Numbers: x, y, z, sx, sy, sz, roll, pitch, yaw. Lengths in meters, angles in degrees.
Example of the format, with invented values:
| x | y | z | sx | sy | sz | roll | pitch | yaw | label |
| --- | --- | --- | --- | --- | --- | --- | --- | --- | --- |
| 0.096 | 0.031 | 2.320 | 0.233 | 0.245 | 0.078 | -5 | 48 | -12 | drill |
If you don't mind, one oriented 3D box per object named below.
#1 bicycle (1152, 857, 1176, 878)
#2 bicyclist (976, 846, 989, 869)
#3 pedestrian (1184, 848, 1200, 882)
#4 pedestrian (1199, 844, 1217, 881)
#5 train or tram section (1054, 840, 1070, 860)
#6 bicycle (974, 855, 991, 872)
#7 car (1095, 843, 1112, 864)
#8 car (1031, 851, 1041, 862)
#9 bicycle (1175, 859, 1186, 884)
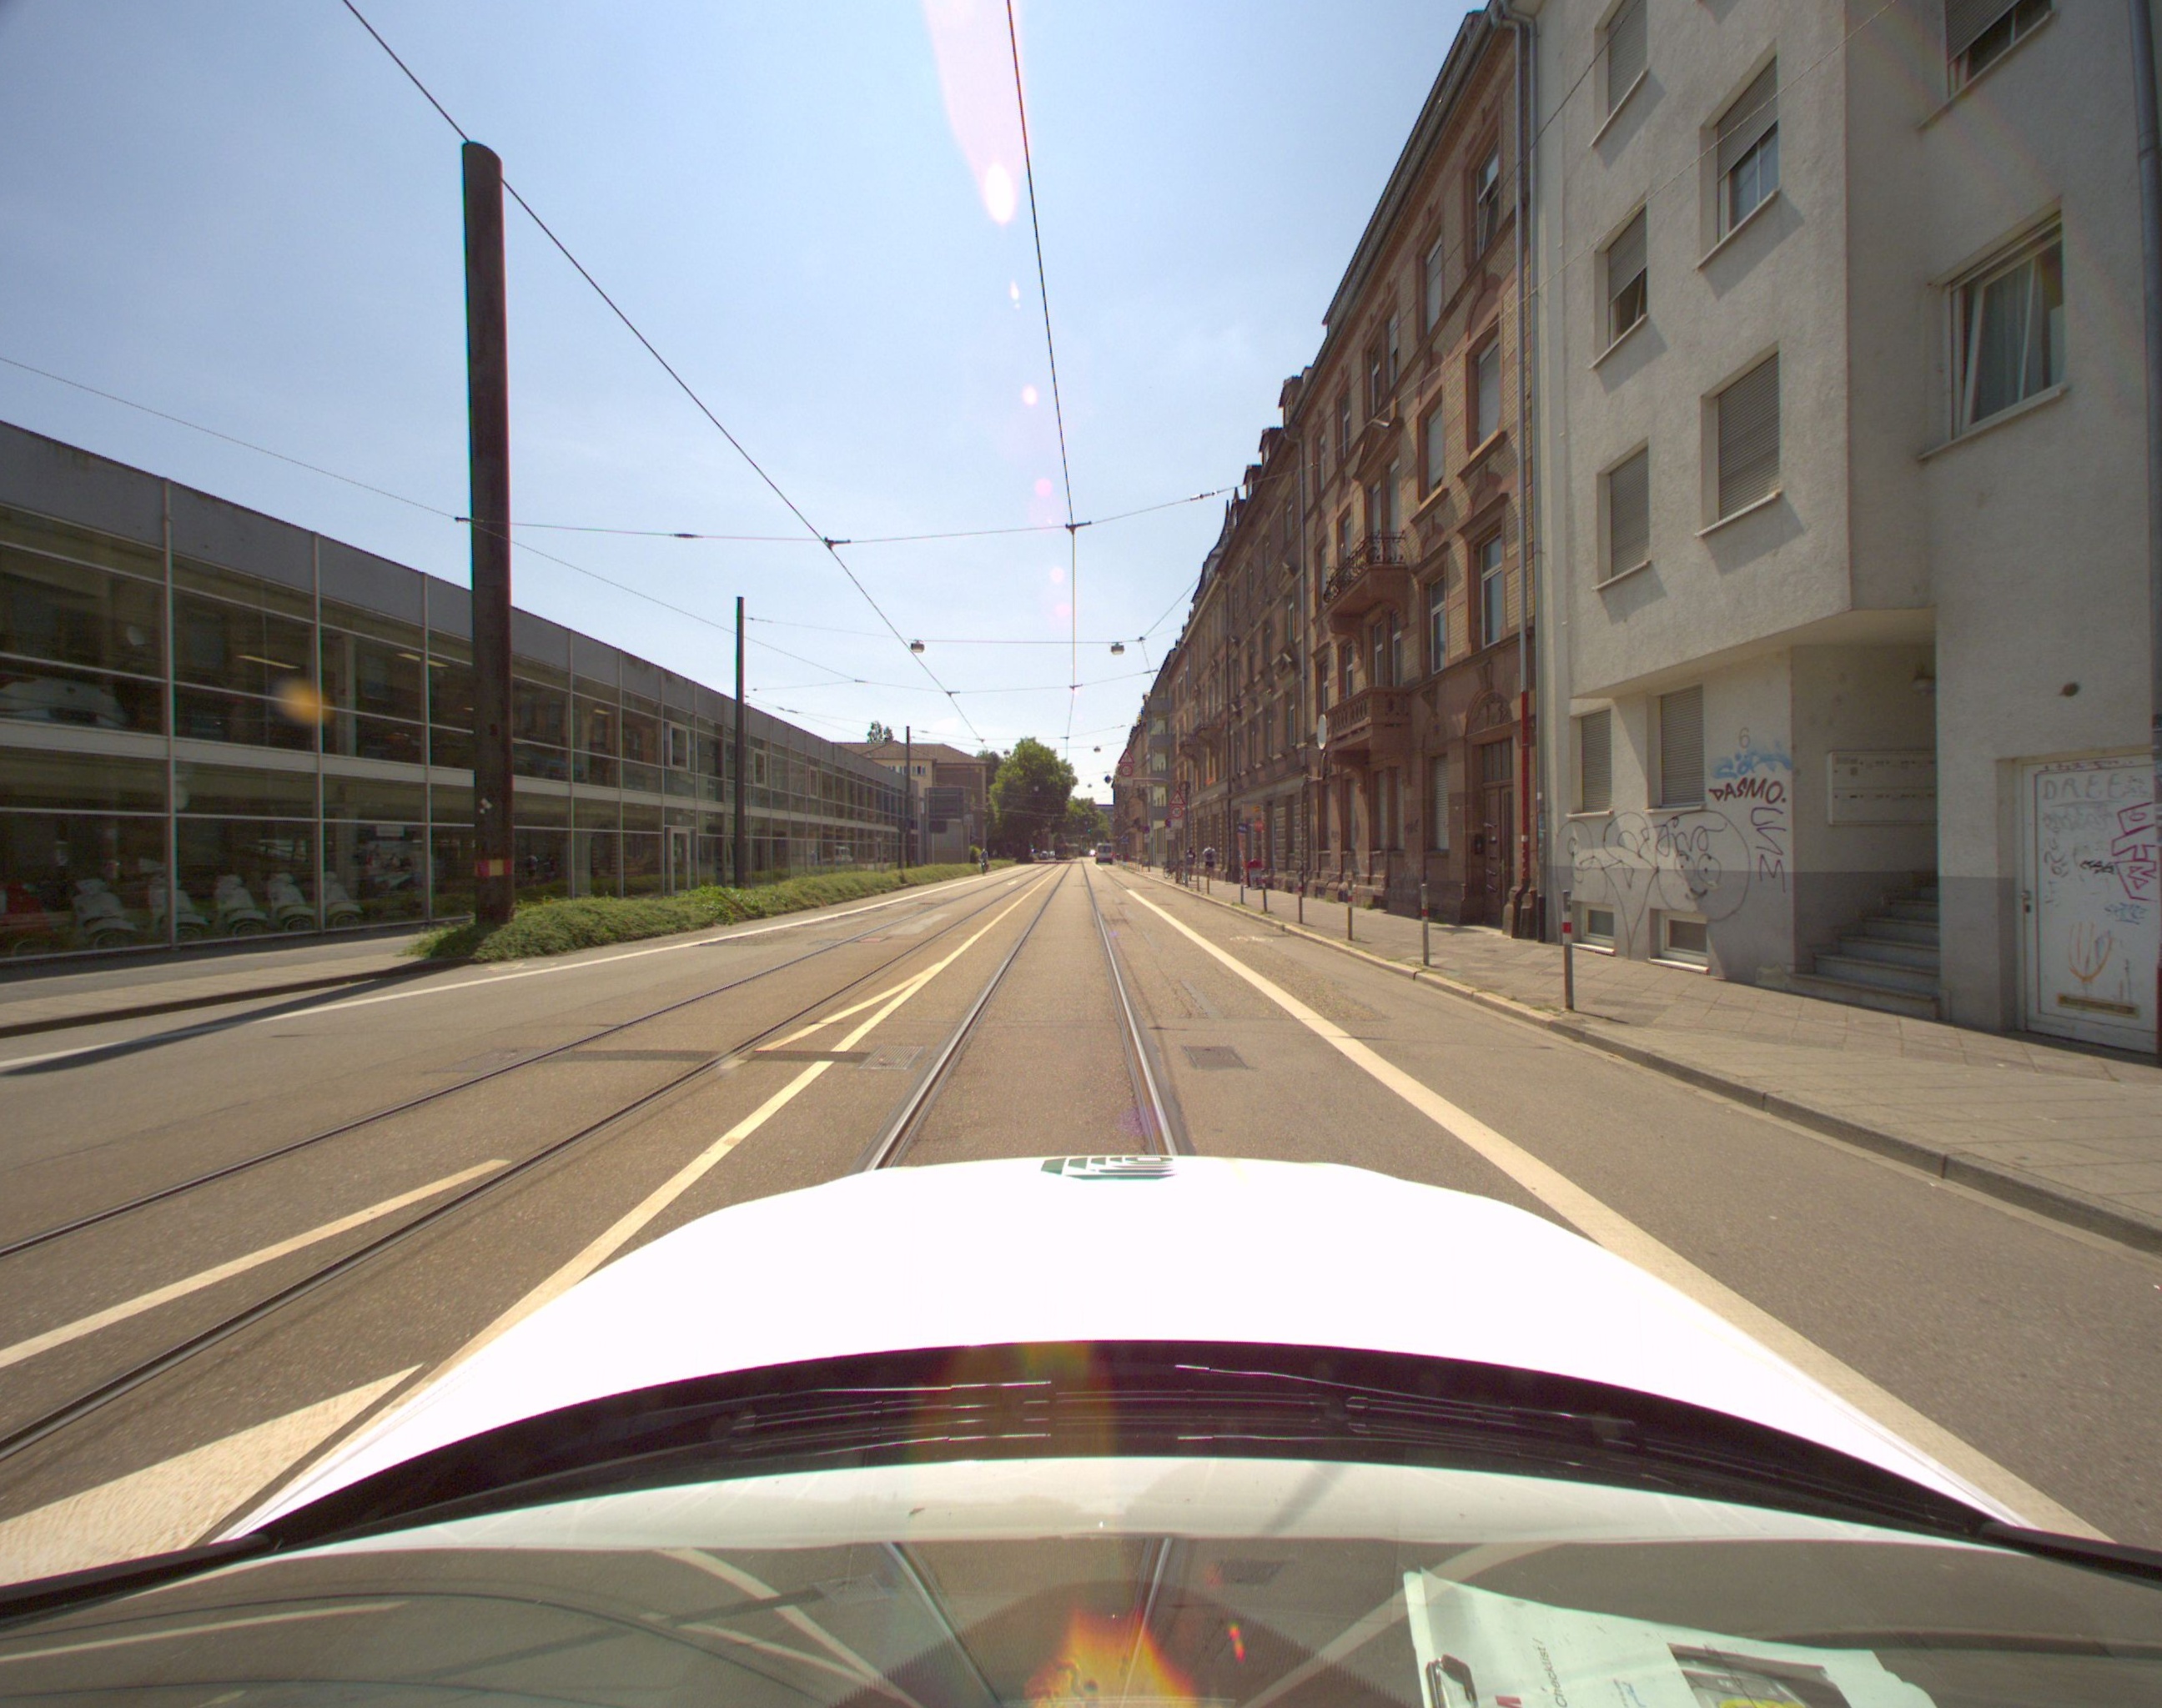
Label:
| x | y | z | sx | sy | sz | roll | pitch | yaw | label |
| --- | --- | --- | --- | --- | --- | --- | --- | --- | --- |
| 4.678 | 0.735 | 45.746 | 0.494 | 1.130 | 2.257 | -1 | 0 | 28 | bicycle |
| -6.869 | 0.226 | 56.870 | 0.695 | 1.548 | 0.981 | -1 | 0 | 4 | bicyclist |
| 5.632 | 0.537 | 41.391 | 0.718 | 1.720 | 0.644 | -1 | 0 | 1 | pedestrian |
| 6.464 | 0.431 | 41.336 | 0.700 | 1.849 | 0.644 | -4 | 0 | 1 | pedestrian |
| -3.639 | -0.775 | 159.584 | 2.951 | 3.580 | 13.419 | 0 | 0 | 0 | train or tram section |
| -6.875 | 0.637 | 56.840 | 0.694 | 1.144 | 2.498 | -1 | 0 | 4 | bicycle |
| 2.729 | -0.096 | 99.868 | 2.060 | 2.501 | 5.455 | 1 | 0 | 1 | car |
| -8.335 | 0.401 | 149.844 | 1.796 | 1.923 | 3.996 | 0 | 0 | -2 | car |
| 4.621 | 0.788 | 37.955 | 0.445 | 1.097 | 2.426 | -1 | 0 | 5 | bicycle |
